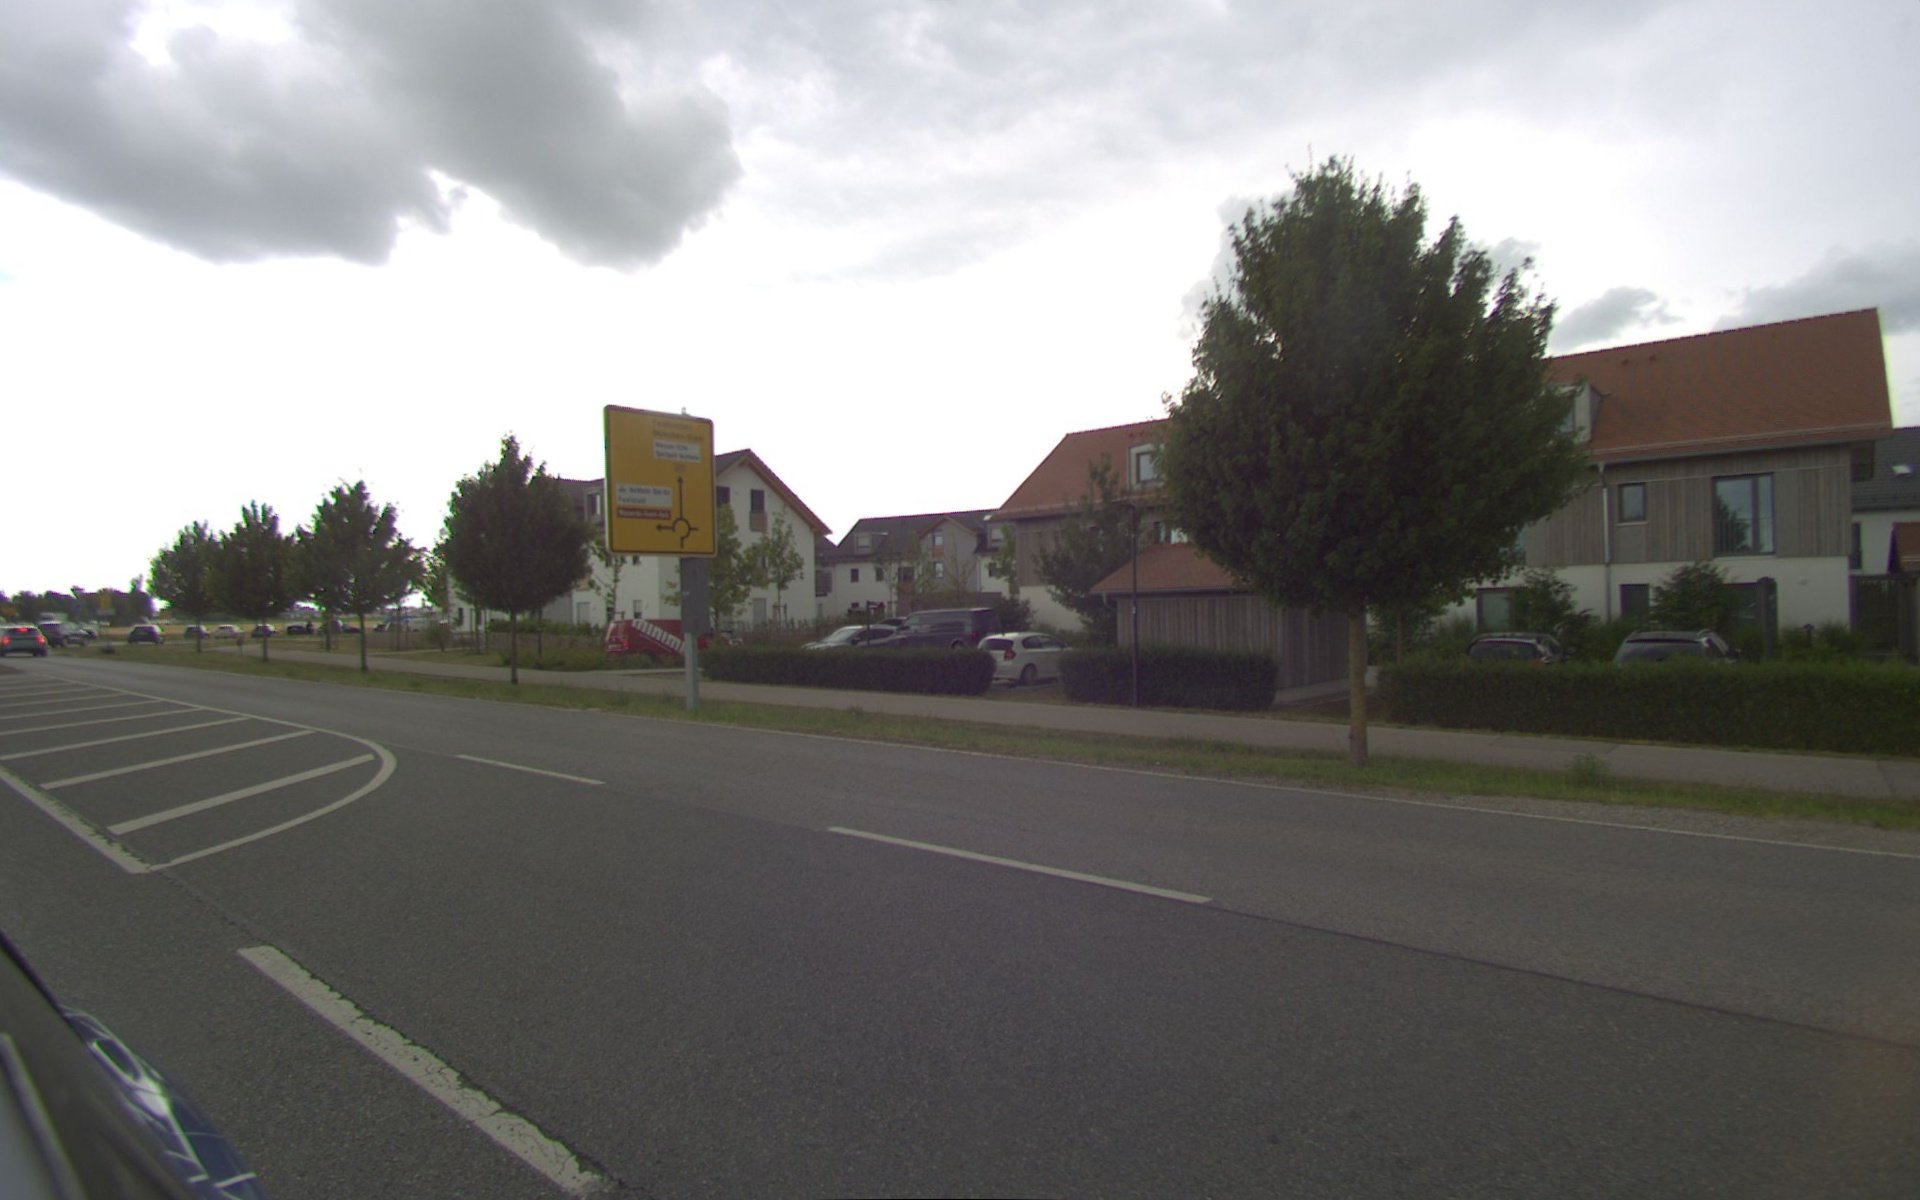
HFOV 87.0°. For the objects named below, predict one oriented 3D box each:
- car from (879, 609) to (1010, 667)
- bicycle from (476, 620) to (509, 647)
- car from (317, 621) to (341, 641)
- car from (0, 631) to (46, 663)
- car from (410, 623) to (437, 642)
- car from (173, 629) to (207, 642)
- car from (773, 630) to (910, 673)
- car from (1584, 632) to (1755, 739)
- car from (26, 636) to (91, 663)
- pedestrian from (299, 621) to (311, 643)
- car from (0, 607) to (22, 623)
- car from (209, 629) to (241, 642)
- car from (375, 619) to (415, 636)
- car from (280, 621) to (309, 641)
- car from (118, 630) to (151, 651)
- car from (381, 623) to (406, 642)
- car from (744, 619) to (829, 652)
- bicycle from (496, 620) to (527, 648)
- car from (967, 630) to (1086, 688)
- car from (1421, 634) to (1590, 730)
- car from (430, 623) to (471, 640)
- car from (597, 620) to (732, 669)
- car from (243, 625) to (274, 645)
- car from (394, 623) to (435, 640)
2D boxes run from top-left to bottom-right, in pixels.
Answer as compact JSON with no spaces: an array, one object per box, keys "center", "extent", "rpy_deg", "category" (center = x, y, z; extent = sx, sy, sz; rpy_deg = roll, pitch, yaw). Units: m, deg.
[{"center":[-0.692,1.481,40.121],"extent":[5.200,2.028,1.972],"rpy_deg":[-2,2,43],"category":"car"},{"center":[-24.845,1.795,53.738],"extent":[2.342,1.423,0.675],"rpy_deg":[-2,-3,40],"category":"bicycle"},{"center":[-67.124,3.293,107.652],"extent":[1.967,2.029,4.010],"rpy_deg":[1,-2,-35],"category":"car"},{"center":[-45.242,2.220,48.389],"extent":[3.997,1.455,1.752],"rpy_deg":[-2,-3,40],"category":"car"},{"center":[-60.094,3.630,113.424],"extent":[2.194,2.029,4.013],"rpy_deg":[1,-2,-22],"category":"car"},{"center":[-78.401,3.619,103.102],"extent":[1.965,1.298,4.013],"rpy_deg":[1,-2,-25],"category":"car"},{"center":[-4.158,1.790,36.198],"extent":[1.905,1.441,4.854],"rpy_deg":[-2,-3,41],"category":"car"},{"center":[12.503,1.388,17.747],"extent":[1.999,1.630,3.945],"rpy_deg":[-2,-3,41],"category":"car"},{"center":[-55.386,3.029,62.257],"extent":[1.800,1.594,4.229],"rpy_deg":[1,-3,-25],"category":"car"},{"center":[-47.612,2.325,73.541],"extent":[0.586,1.541,0.540],"rpy_deg":[-2,0,40],"category":"pedestrian"},{"center":[-90.929,1.432,96.414],"extent":[3.997,1.455,1.752],"rpy_deg":[-2,-3,40],"category":"car"},{"center":[-75.599,3.644,104.163],"extent":[1.965,1.298,4.013],"rpy_deg":[1,-2,-25],"category":"car"},{"center":[-71.006,3.442,127.168],"extent":[1.990,2.029,3.962],"rpy_deg":[-1,-2,27],"category":"car"},{"center":[-70.050,3.273,106.528],"extent":[1.965,2.029,4.013],"rpy_deg":[1,-2,-25],"category":"car"},{"center":[-59.690,2.903,73.201],"extent":[1.748,1.455,4.006],"rpy_deg":[1,-3,-40],"category":"car"},{"center":[-62.984,3.613,112.571],"extent":[1.965,2.029,4.013],"rpy_deg":[1,-2,-22],"category":"car"},{"center":[-8.468,1.734,49.225],"extent":[3.997,1.519,1.973],"rpy_deg":[-2,-3,40],"category":"car"},{"center":[-24.060,1.826,54.321],"extent":[2.093,1.428,0.675],"rpy_deg":[-2,-3,40],"category":"bicycle"},{"center":[1.895,1.580,28.026],"extent":[1.562,1.501,3.479],"rpy_deg":[-2,-3,40],"category":"car"},{"center":[10.536,1.477,19.415],"extent":[1.999,1.630,3.945],"rpy_deg":[-2,-3,41],"category":"car"},{"center":[-60.949,3.769,121.148],"extent":[1.990,2.029,3.962],"rpy_deg":[-1,-2,27],"category":"car"},{"center":[-11.656,1.727,40.161],"extent":[4.849,1.830,1.907],"rpy_deg":[2,-3,-45],"category":"car"},{"center":[-73.177,3.684,105.590],"extent":[1.965,2.029,4.013],"rpy_deg":[1,-2,-25],"category":"car"},{"center":[-65.673,3.812,121.849],"extent":[1.993,2.029,3.957],"rpy_deg":[-1,-2,31],"category":"car"}]
